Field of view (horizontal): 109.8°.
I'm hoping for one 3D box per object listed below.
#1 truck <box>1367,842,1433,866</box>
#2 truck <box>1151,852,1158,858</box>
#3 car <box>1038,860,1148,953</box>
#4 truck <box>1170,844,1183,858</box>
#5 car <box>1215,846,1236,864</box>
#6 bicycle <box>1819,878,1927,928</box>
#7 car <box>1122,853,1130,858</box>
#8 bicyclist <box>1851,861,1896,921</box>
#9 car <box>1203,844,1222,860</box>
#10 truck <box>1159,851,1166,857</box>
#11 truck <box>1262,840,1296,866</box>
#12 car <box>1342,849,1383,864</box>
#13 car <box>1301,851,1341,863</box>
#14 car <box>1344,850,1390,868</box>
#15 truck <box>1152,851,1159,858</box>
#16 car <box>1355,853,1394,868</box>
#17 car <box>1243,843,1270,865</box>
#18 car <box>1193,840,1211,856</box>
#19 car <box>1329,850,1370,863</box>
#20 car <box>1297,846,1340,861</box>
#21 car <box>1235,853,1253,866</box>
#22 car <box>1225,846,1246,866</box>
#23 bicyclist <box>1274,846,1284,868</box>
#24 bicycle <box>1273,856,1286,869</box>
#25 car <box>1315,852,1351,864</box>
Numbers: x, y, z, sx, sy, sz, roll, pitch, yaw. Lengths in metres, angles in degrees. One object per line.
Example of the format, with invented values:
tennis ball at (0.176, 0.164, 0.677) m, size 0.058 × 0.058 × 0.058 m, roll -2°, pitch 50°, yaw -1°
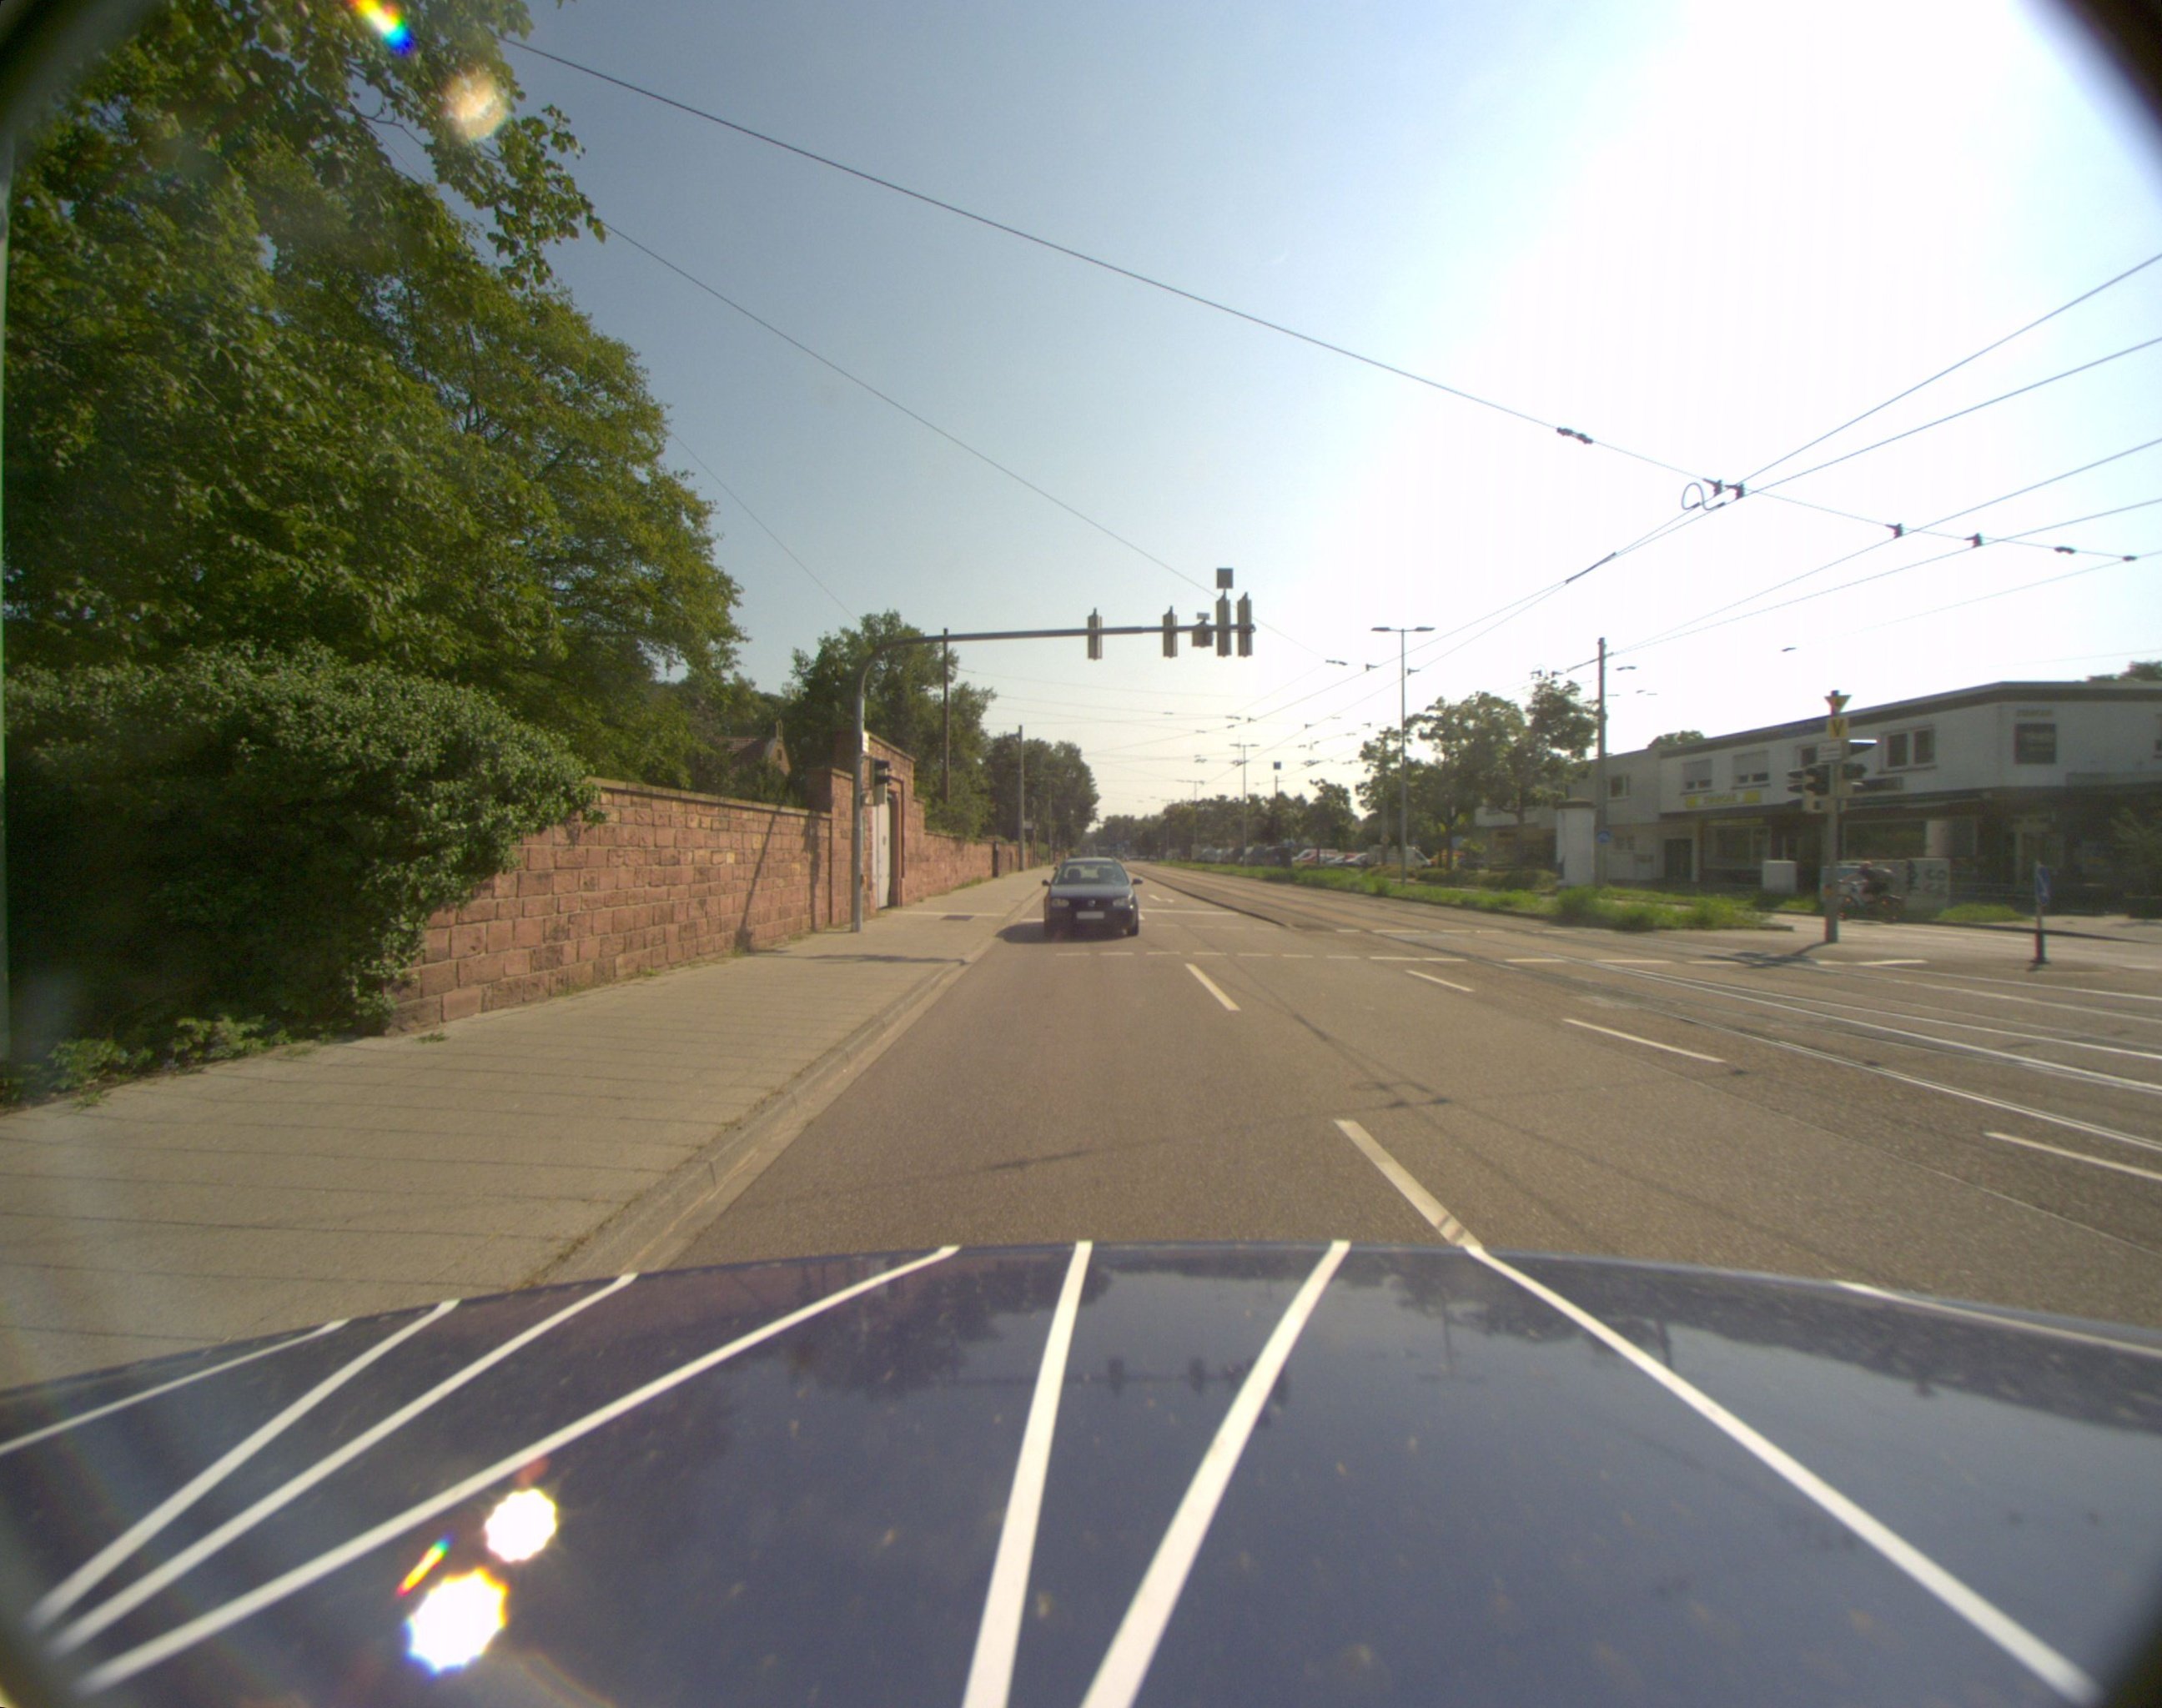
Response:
truck at (31.520, -0.047, 75.224) m, size 5.504 × 2.160 × 2.259 m, roll 2°, pitch 1°, yaw 0°
truck at (21.627, 0.149, 223.500) m, size 1.691 × 1.665 × 3.655 m, roll 2°, pitch 1°, yaw 1°
car at (0.264, 0.874, 14.354) m, size 1.776 × 1.416 × 3.935 m, roll 1°, pitch 0°, yaw 2°
truck at (22.372, -0.639, 178.366) m, size 2.278 × 3.103 × 8.788 m, roll 2°, pitch 1°, yaw 4°
car at (21.097, 0.132, 111.264) m, size 2.137 × 2.571 × 5.631 m, roll 2°, pitch 1°, yaw 1°
bicycle at (20.582, 1.244, 19.824) m, size 0.576 × 1.172 × 2.209 m, roll 2°, pitch -1°, yaw 3°
car at (11.146, 0.345, 187.625) m, size 1.726 × 1.317 × 4.000 m, roll 2°, pitch 1°, yaw 1°
bicyclist at (20.582, 0.941, 19.736) m, size 0.569 × 1.514 × 0.490 m, roll 2°, pitch 1°, yaw 2°
car at (21.647, -0.373, 125.532) m, size 2.148 × 2.444 × 4.831 m, roll 2°, pitch 1°, yaw 0°
truck at (22.382, 0.052, 208.620) m, size 1.691 × 1.665 × 3.655 m, roll 2°, pitch 1°, yaw 1°
truck at (20.972, -0.139, 80.651) m, size 2.086 × 2.533 × 5.738 m, roll 2°, pitch 1°, yaw 0°
car at (31.708, 0.249, 85.697) m, size 3.933 × 1.510 × 1.633 m, roll 2°, pitch 1°, yaw 0°
car at (31.916, 0.411, 101.136) m, size 4.665 × 1.441 × 1.633 m, roll 2°, pitch 1°, yaw 0°
car at (31.190, 0.536, 82.913) m, size 4.410 × 1.774 × 1.633 m, roll 2°, pitch 1°, yaw 0°
truck at (21.596, 0.140, 219.026) m, size 1.691 × 1.665 × 3.655 m, roll 2°, pitch 1°, yaw 1°
car at (30.897, 0.700, 79.928) m, size 3.413 × 1.418 × 1.633 m, roll 2°, pitch 1°, yaw 0°
car at (20.826, -0.017, 90.503) m, size 1.993 × 2.571 × 6.467 m, roll -1°, pitch 0°, yaw 3°
car at (21.400, -1.025, 135.169) m, size 2.129 × 2.789 × 7.231 m, roll 2°, pitch 1°, yaw 1°
car at (31.584, 0.309, 89.467) m, size 4.166 × 1.455 × 1.625 m, roll 1°, pitch 0°, yaw 3°
car at (32.533, -0.062, 104.130) m, size 5.198 × 1.914 × 2.052 m, roll 2°, pitch 1°, yaw 0°
car at (20.758, 0.708, 96.917) m, size 1.748 × 1.543 × 3.834 m, roll 0°, pitch 0°, yaw 3°
car at (20.903, 0.298, 102.904) m, size 1.826 × 2.571 × 5.910 m, roll -1°, pitch 0°, yaw 2°
bicyclist at (18.805, 0.312, 72.164) m, size 0.639 × 2.052 × 0.774 m, roll 2°, pitch 1°, yaw 3°
bicycle at (18.779, 0.791, 71.910) m, size 0.716 × 1.085 × 2.266 m, roll 2°, pitch 1°, yaw 4°
car at (31.798, 0.494, 95.978) m, size 3.933 × 1.441 × 1.633 m, roll 2°, pitch 1°, yaw 0°
